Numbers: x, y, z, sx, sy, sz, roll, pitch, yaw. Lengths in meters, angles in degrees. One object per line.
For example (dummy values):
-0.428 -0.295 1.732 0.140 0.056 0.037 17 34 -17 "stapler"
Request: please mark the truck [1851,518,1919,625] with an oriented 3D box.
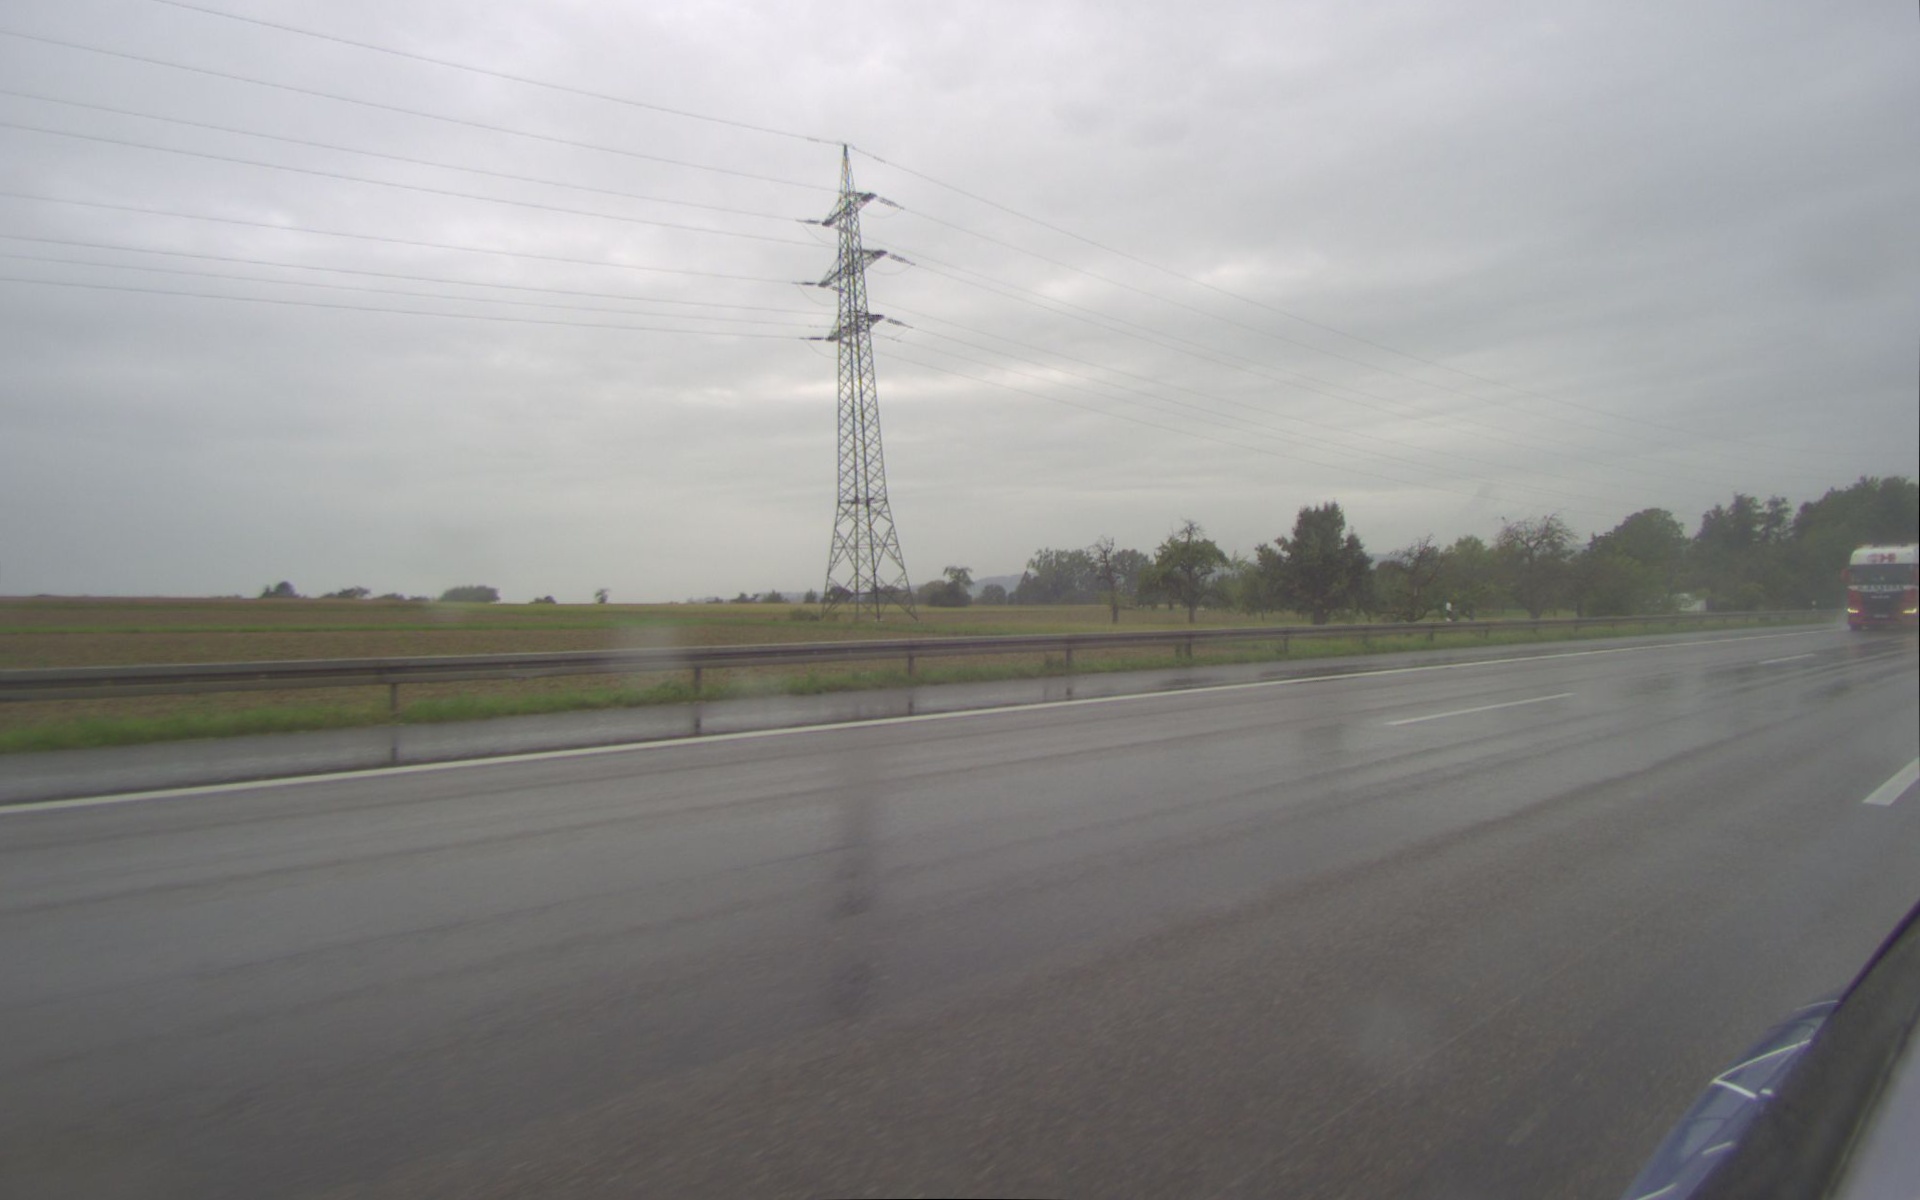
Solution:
46.246 -1.302 49.033 11.204 4.728 3.133 -1 0 -41 "truck"
